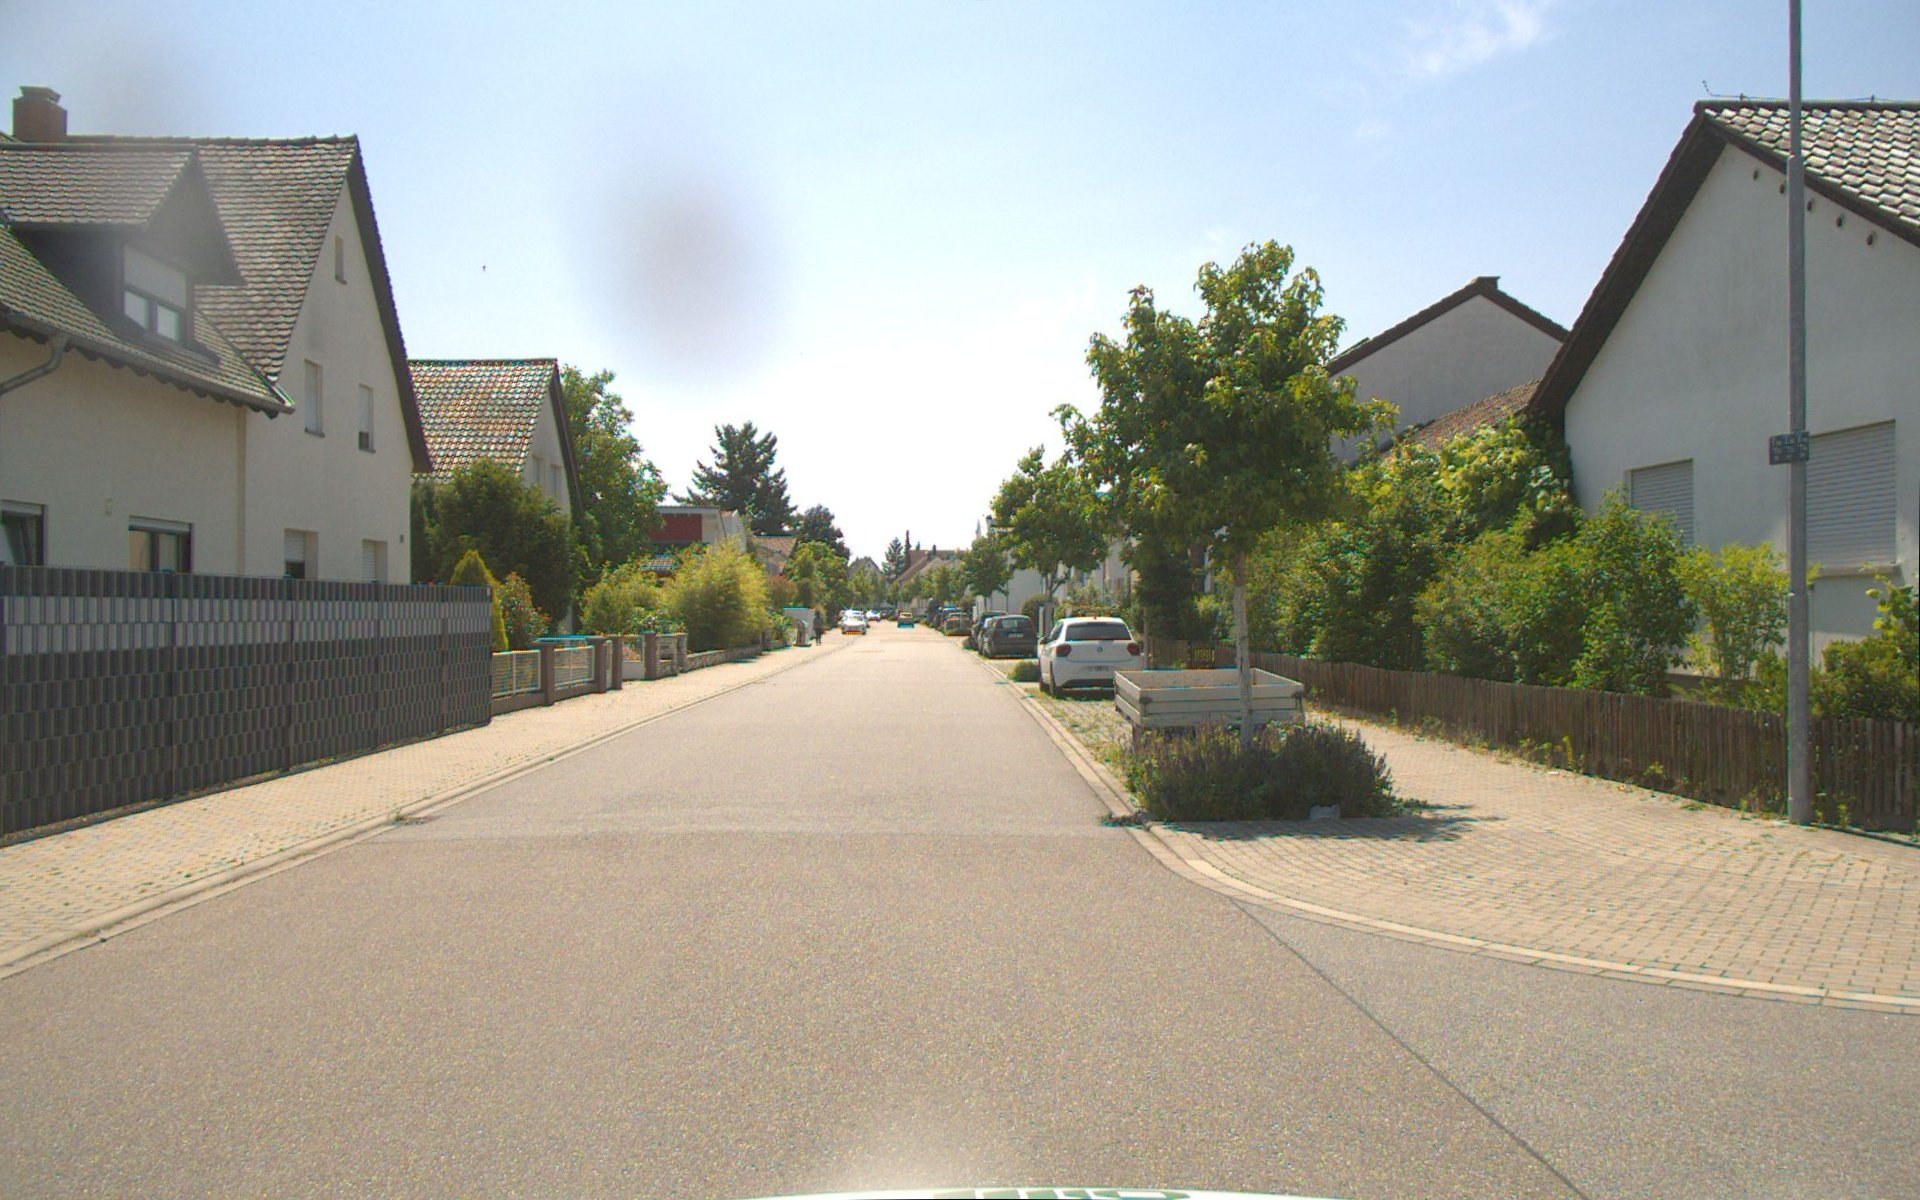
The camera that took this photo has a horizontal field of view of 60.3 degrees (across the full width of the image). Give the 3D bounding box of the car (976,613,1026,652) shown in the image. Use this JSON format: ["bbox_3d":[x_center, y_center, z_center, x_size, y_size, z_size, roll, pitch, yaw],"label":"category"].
[{"bbox_3d":[1.570,1.236,64.872,1.777,1.445,4.092,0,0,-1],"label":"car"}]

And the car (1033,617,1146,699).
[{"bbox_3d":[2.410,1.059,31.569,1.777,1.445,3.867,0,0,-1],"label":"car"}]

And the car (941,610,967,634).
[{"bbox_3d":[-0.501,1.780,134.175,2.057,1.915,4.841,0,0,-1],"label":"car"}]

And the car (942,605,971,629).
[{"bbox_3d":[-0.270,1.205,117.294,1.738,1.623,4.275,0,0,-4],"label":"car"}]

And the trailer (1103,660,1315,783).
[{"bbox_3d":[2.501,1.211,17.231,1.751,1.077,2.898,0,0,0],"label":"trailer"}]

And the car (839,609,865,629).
[{"bbox_3d":[-8.213,1.440,125.661,1.814,1.514,4.383,0,0,-2],"label":"car"}]

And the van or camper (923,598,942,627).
[{"bbox_3d":[-2.919,1.308,173.386,1.953,2.993,3.998,0,-1,-2],"label":"van or camper"}]

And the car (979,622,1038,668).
[{"bbox_3d":[1.688,1.571,58.976,1.707,1.560,4.445,0,0,-4],"label":"car"}]

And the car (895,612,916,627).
[{"bbox_3d":[-5.546,1.978,168.845,1.953,1.455,3.999,-1,0,0],"label":"car"}]

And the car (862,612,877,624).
[{"bbox_3d":[-12.318,2.444,225.894,1.815,1.504,4.699,0,0,0],"label":"car"}]

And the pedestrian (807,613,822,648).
[{"bbox_3d":[-7.377,1.529,84.131,0.700,1.778,0.960,0,-1,-2],"label":"pedestrian"}]

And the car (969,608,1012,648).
[{"bbox_3d":[1.333,1.246,74.255,1.777,1.685,4.563,0,0,-1],"label":"car"}]
